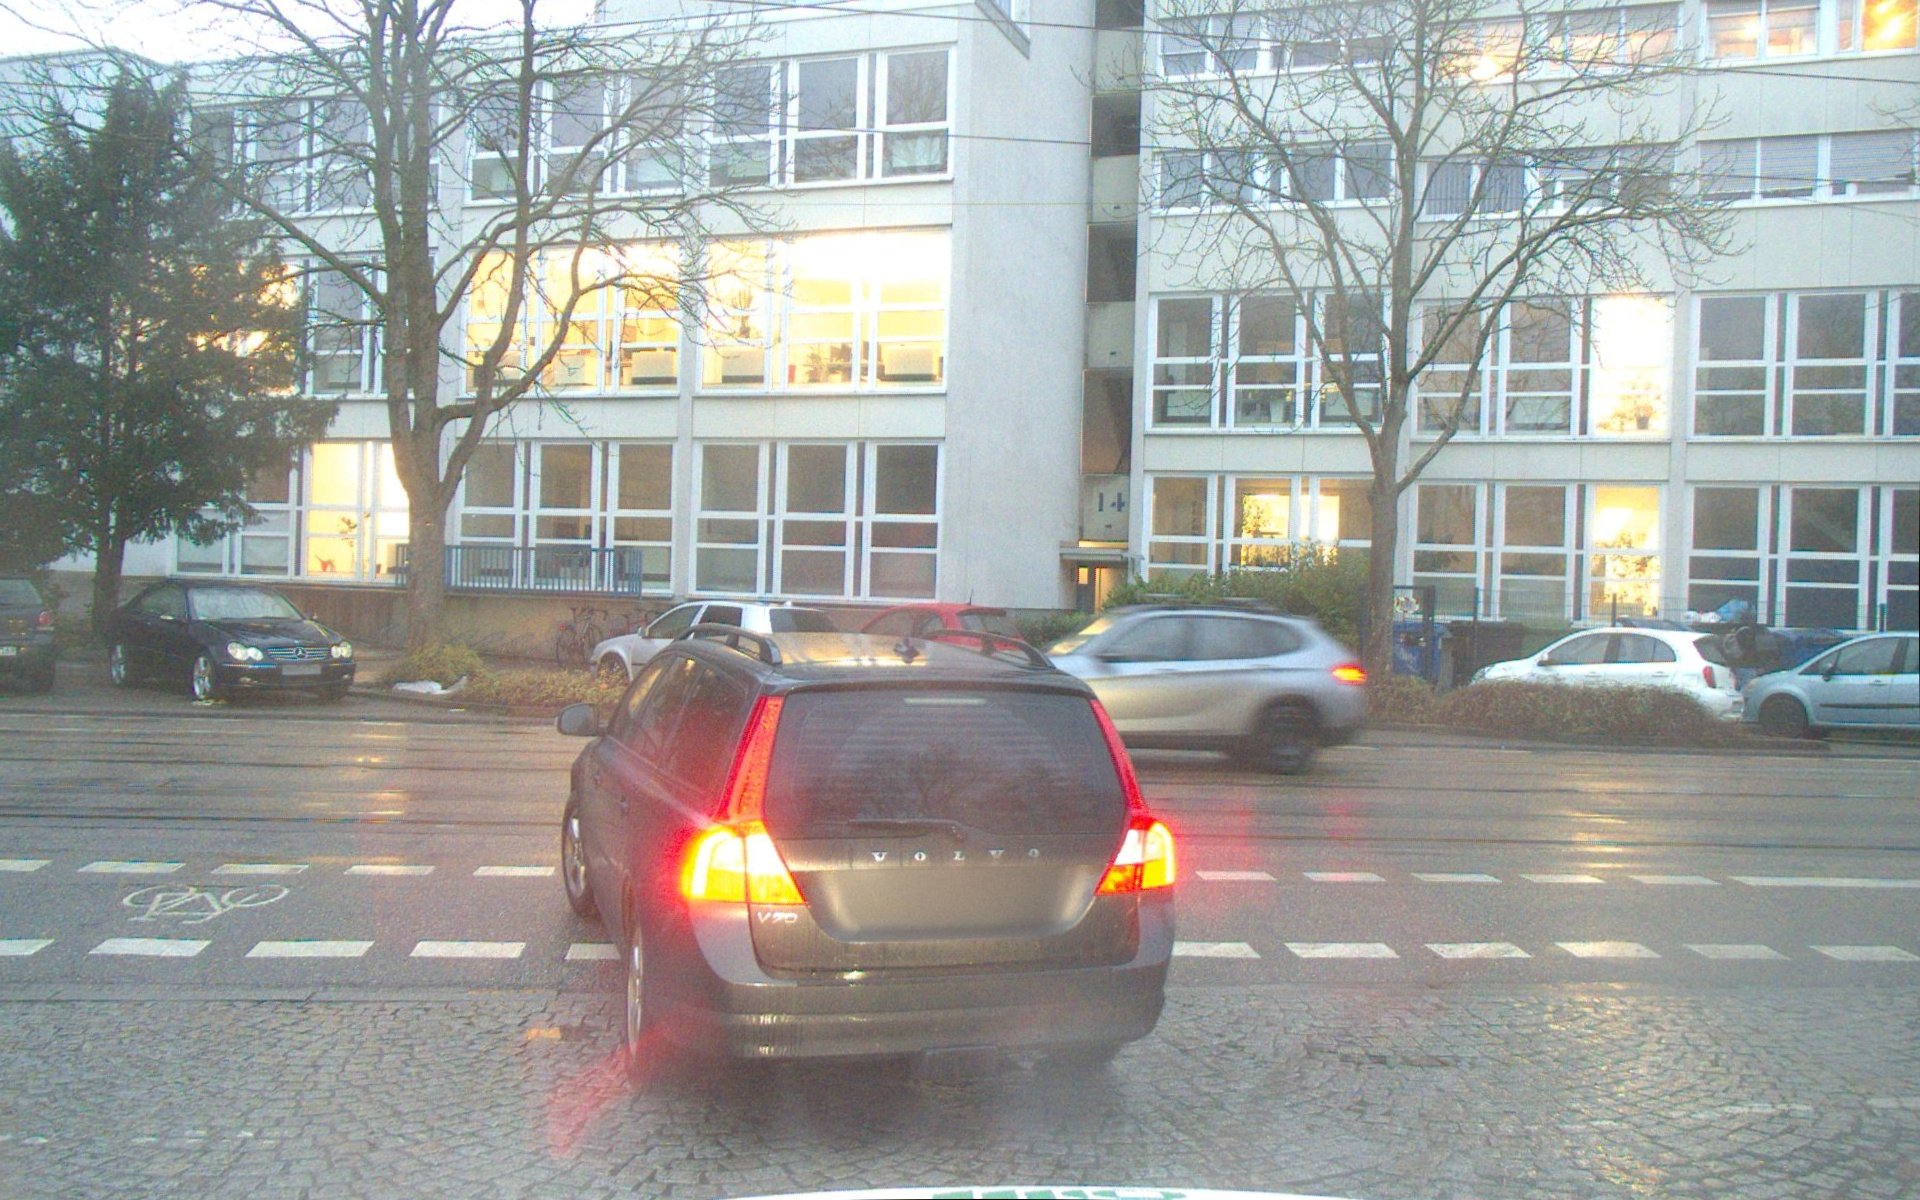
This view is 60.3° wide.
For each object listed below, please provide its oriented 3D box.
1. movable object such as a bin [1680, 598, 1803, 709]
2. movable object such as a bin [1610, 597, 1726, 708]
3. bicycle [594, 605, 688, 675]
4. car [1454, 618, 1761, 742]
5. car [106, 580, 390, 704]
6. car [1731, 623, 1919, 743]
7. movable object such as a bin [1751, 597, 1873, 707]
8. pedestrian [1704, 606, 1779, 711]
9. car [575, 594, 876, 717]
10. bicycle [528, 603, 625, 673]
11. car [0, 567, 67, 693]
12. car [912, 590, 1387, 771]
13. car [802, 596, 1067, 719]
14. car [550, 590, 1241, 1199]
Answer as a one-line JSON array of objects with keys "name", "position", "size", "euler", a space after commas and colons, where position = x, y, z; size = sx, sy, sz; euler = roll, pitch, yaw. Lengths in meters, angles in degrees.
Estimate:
[{"name": "movable object such as a bin", "position": [13.744, 0.917, 29.155], "size": [1.362, 1.892, 1.573], "euler": [0, 0, -5]}, {"name": "movable object such as a bin", "position": [12.385, 0.892, 29.006], "size": [1.288, 1.892, 1.573], "euler": [0, 0, -5]}, {"name": "bicycle", "position": [-5.433, 0.660, 28.299], "size": [0.626, 1.140, 2.207], "euler": [1, 0, 16]}, {"name": "car", "position": [9.290, 1.088, 23.869], "size": [3.804, 1.579, 1.684], "euler": [1, 0, 40]}, {"name": "car", "position": [-9.035, 0.473, 20.867], "size": [3.929, 1.403, 1.845], "euler": [1, 0, 42]}, {"name": "car", "position": [13.334, 1.161, 23.570], "size": [3.929, 1.591, 1.726], "euler": [1, 0, 42]}, {"name": "movable object such as a bin", "position": [15.061, 0.902, 29.277], "size": [1.288, 1.892, 1.573], "euler": [0, 0, -5]}, {"name": "pedestrian", "position": [12.929, 0.964, 27.373], "size": [0.951, 1.706, 0.598], "euler": [1, -1, -7]}, {"name": "car", "position": [-3.182, 0.689, 22.157], "size": [3.923, 1.471, 1.785], "euler": [1, 0, 38]}, {"name": "bicycle", "position": [-6.603, 0.640, 28.603], "size": [0.626, 1.140, 2.207], "euler": [1, 0, 16]}, {"name": "car", "position": [-12.926, 0.333, 20.736], "size": [3.929, 1.488, 1.845], "euler": [1, 0, 42]}, {"name": "car", "position": [1.751, 0.751, 16.000], "size": [4.282, 1.606, 1.710], "euler": [1, 0, -7]}, {"name": "car", "position": [-0.388, 0.739, 22.649], "size": [3.390, 1.519, 1.719], "euler": [1, 0, 42]}, {"name": "car", "position": [-0.636, 0.844, 6.890], "size": [1.721, 1.571, 4.273], "euler": [1, 2, -19]}]
